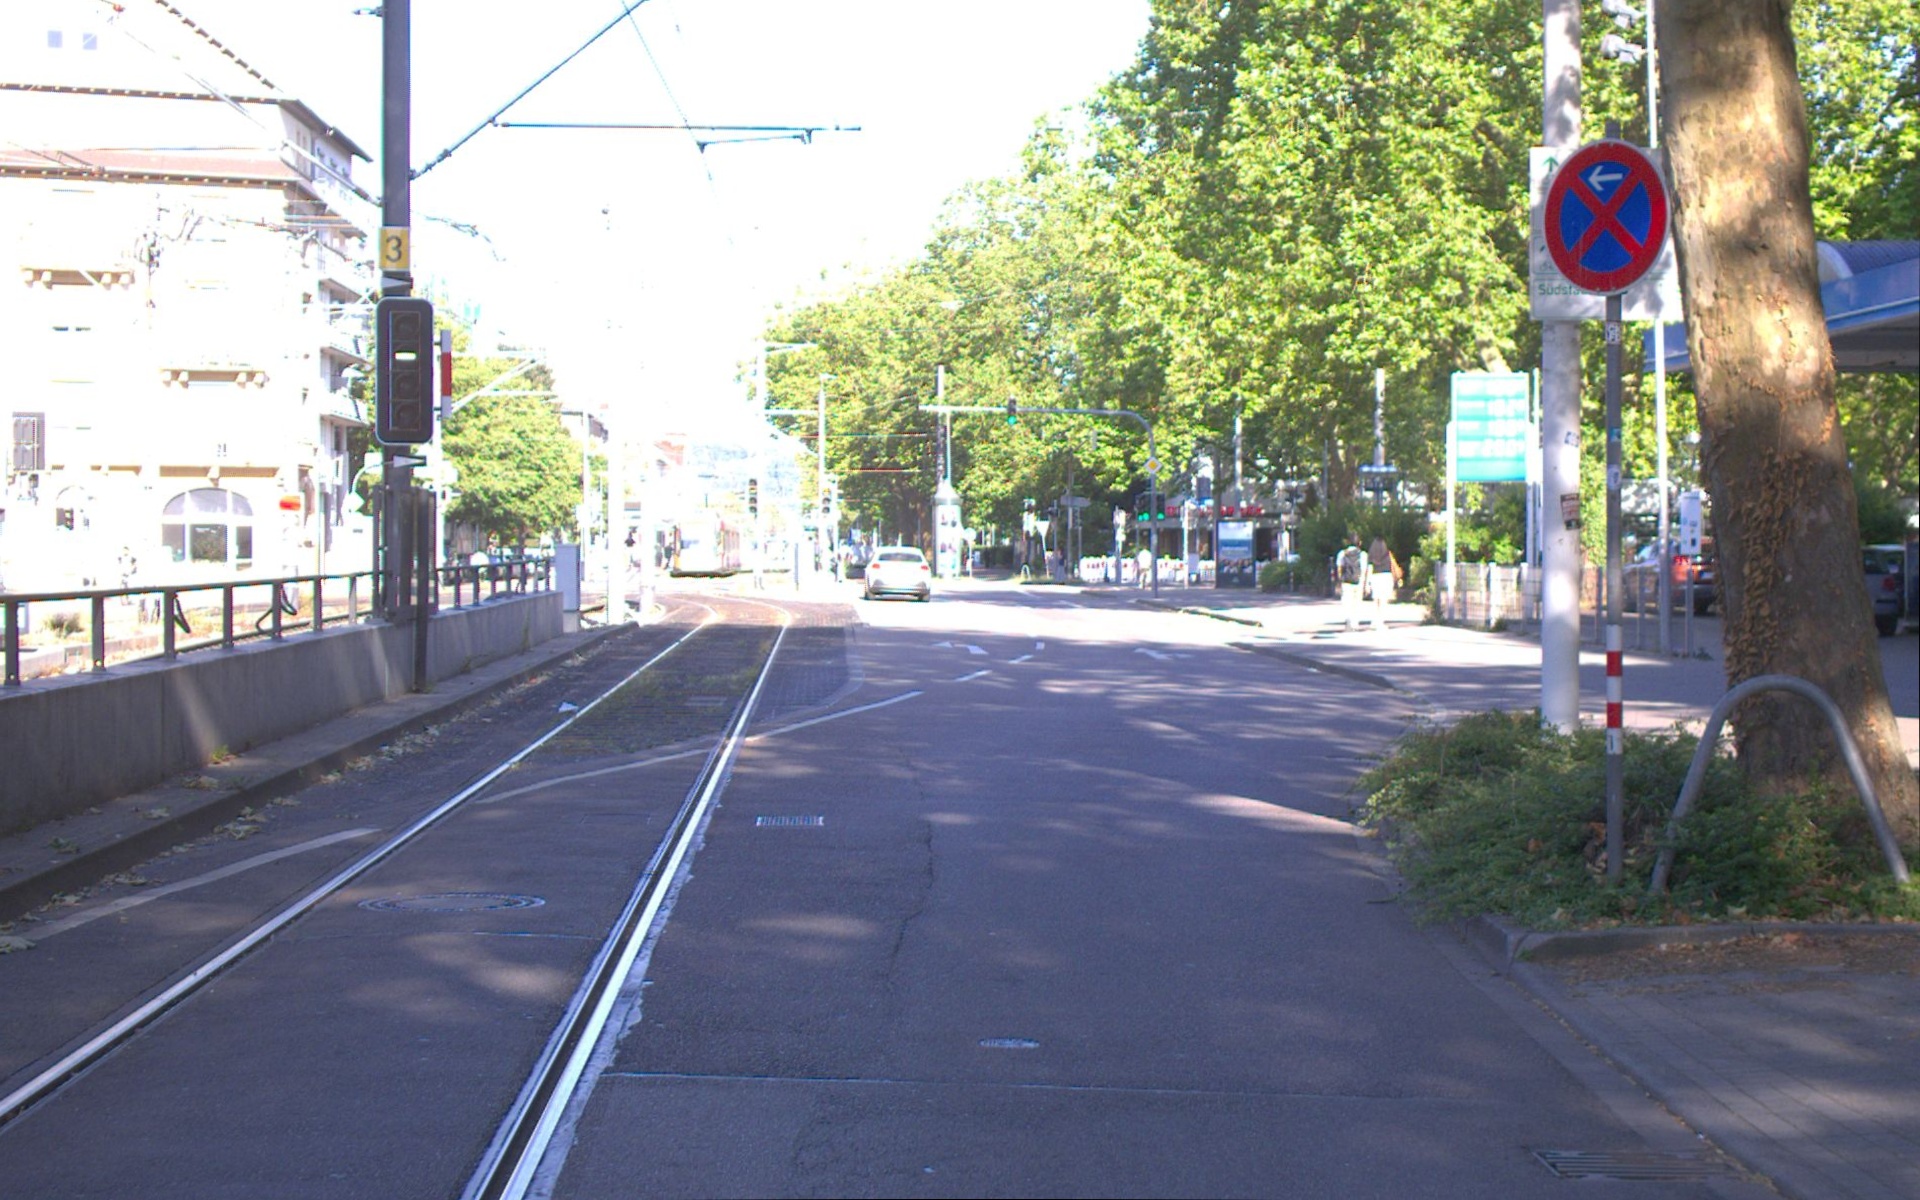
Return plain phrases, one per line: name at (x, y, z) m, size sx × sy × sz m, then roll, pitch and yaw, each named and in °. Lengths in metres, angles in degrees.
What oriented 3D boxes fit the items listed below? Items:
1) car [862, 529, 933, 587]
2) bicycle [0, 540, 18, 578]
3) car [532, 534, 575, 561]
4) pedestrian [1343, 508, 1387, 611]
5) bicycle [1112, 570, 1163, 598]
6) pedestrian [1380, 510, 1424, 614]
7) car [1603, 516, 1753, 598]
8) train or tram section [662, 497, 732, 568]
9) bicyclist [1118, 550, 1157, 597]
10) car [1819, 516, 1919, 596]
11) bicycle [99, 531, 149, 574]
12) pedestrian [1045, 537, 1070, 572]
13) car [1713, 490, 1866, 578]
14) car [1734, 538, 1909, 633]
car at (-1.717, -1.153, 93.488) m, size 1.745 × 1.457 × 3.645 m, roll 2°, pitch 1°, yaw -3°
bicycle at (-33.793, -1.452, 121.272) m, size 0.821 × 1.278 × 2.565 m, roll 2°, pitch 1°, yaw -10°
car at (-23.654, -3.056, 200.340) m, size 1.993 × 1.444 × 4.841 m, roll -2°, pitch 1°, yaw -2°
pedestrian at (7.091, -0.712, 60.233) m, size 0.603 × 1.770 × 0.879 m, roll -3°, pitch 1°, yaw 2°
bicycle at (6.568, -0.600, 127.440) m, size 1.198 × 0.931 × 2.575 m, roll 2°, pitch 1°, yaw -13°
pedestrian at (7.727, -0.665, 60.130) m, size 0.603 × 1.770 × 0.690 m, roll -3°, pitch 1°, yaw 2°
car at (14.980, -0.927, 71.968) m, size 1.817 × 1.596 × 4.663 m, roll 0°, pitch 2°, yaw -5°
train or tram section at (-13.529, -3.492, 177.274) m, size 2.952 × 3.398 × 10.792 m, roll 2°, pitch 1°, yaw -2°
bicyclist at (6.580, -0.997, 127.462) m, size 1.198 × 1.691 × 0.904 m, roll 2°, pitch 1°, yaw -13°
car at (19.353, -0.945, 71.488) m, size 1.860 × 1.564 × 4.001 m, roll 0°, pitch 2°, yaw -2°
bicycle at (-23.127, -1.329, 95.161) m, size 0.631 × 1.140 × 2.279 m, roll -2°, pitch 1°, yaw 5°
pedestrian at (4.043, -1.892, 142.947) m, size 0.660 × 1.383 × 0.830 m, roll 3°, pitch 1°, yaw 30°
car at (17.138, -1.399, 71.269) m, size 1.860 × 1.729 × 4.799 m, roll 0°, pitch 2°, yaw -2°
car at (13.565, -0.256, 54.322) m, size 1.567 × 1.425 × 4.099 m, roll 0°, pitch 1°, yaw -3°
